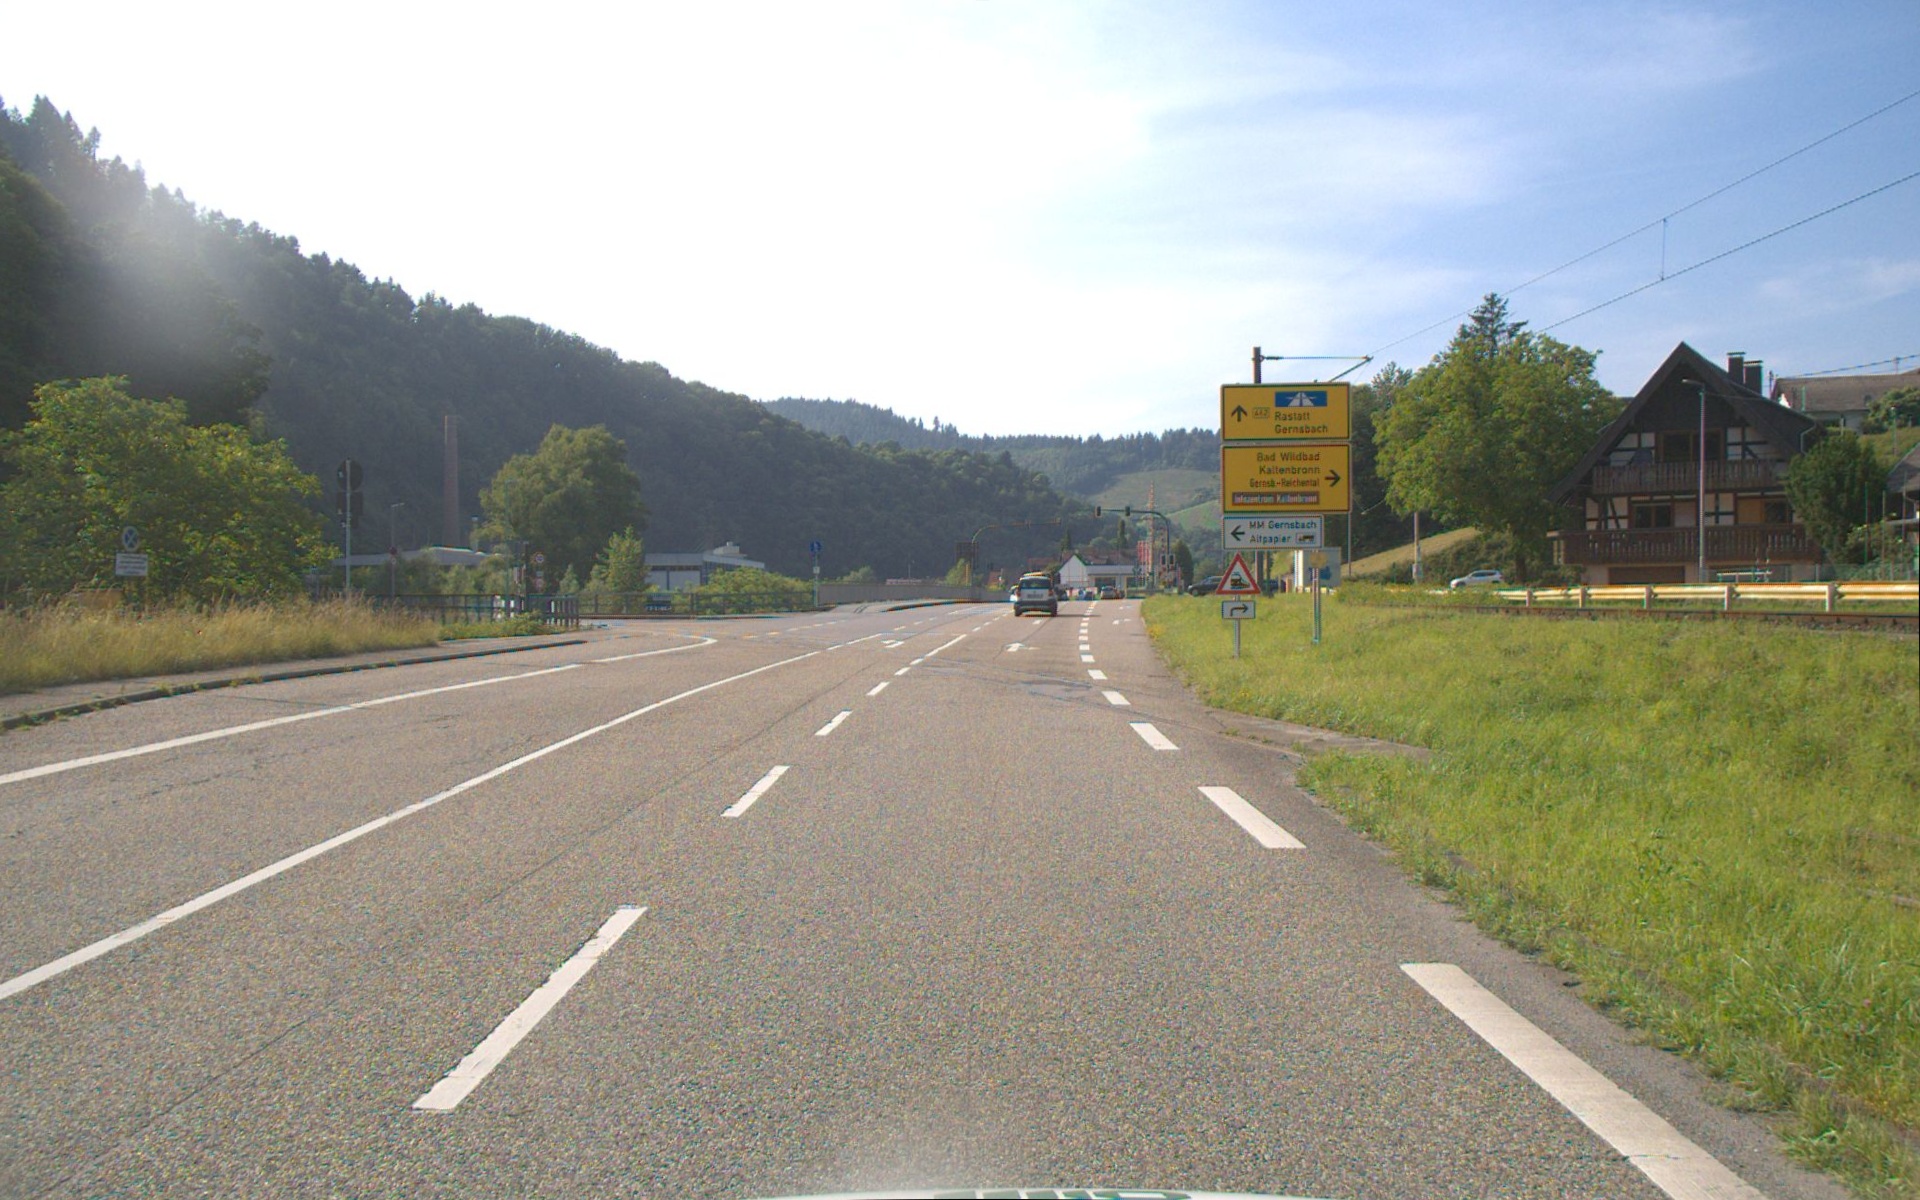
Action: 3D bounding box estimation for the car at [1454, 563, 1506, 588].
[{"bbox_3d":[41.317,-1.920,131.374,3.904,1.914,1.878,0,1,20],"label":"car"}]

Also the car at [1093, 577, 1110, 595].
[{"bbox_3d":[16.306,-1.616,190.871,1.951,2.049,4.002,-1,1,4],"label":"car"}]

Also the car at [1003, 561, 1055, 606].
[{"bbox_3d":[2.884,-0.681,70.132,1.953,1.753,3.990,-2,0,0],"label":"car"}]

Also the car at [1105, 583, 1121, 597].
[{"bbox_3d":[18.852,-1.271,203.803,1.951,1.646,4.002,-1,1,4],"label":"car"}]

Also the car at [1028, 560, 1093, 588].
[{"bbox_3d":[8.145,-2.111,133.966,5.247,2.048,1.971,-3,0,-40],"label":"car"}]
